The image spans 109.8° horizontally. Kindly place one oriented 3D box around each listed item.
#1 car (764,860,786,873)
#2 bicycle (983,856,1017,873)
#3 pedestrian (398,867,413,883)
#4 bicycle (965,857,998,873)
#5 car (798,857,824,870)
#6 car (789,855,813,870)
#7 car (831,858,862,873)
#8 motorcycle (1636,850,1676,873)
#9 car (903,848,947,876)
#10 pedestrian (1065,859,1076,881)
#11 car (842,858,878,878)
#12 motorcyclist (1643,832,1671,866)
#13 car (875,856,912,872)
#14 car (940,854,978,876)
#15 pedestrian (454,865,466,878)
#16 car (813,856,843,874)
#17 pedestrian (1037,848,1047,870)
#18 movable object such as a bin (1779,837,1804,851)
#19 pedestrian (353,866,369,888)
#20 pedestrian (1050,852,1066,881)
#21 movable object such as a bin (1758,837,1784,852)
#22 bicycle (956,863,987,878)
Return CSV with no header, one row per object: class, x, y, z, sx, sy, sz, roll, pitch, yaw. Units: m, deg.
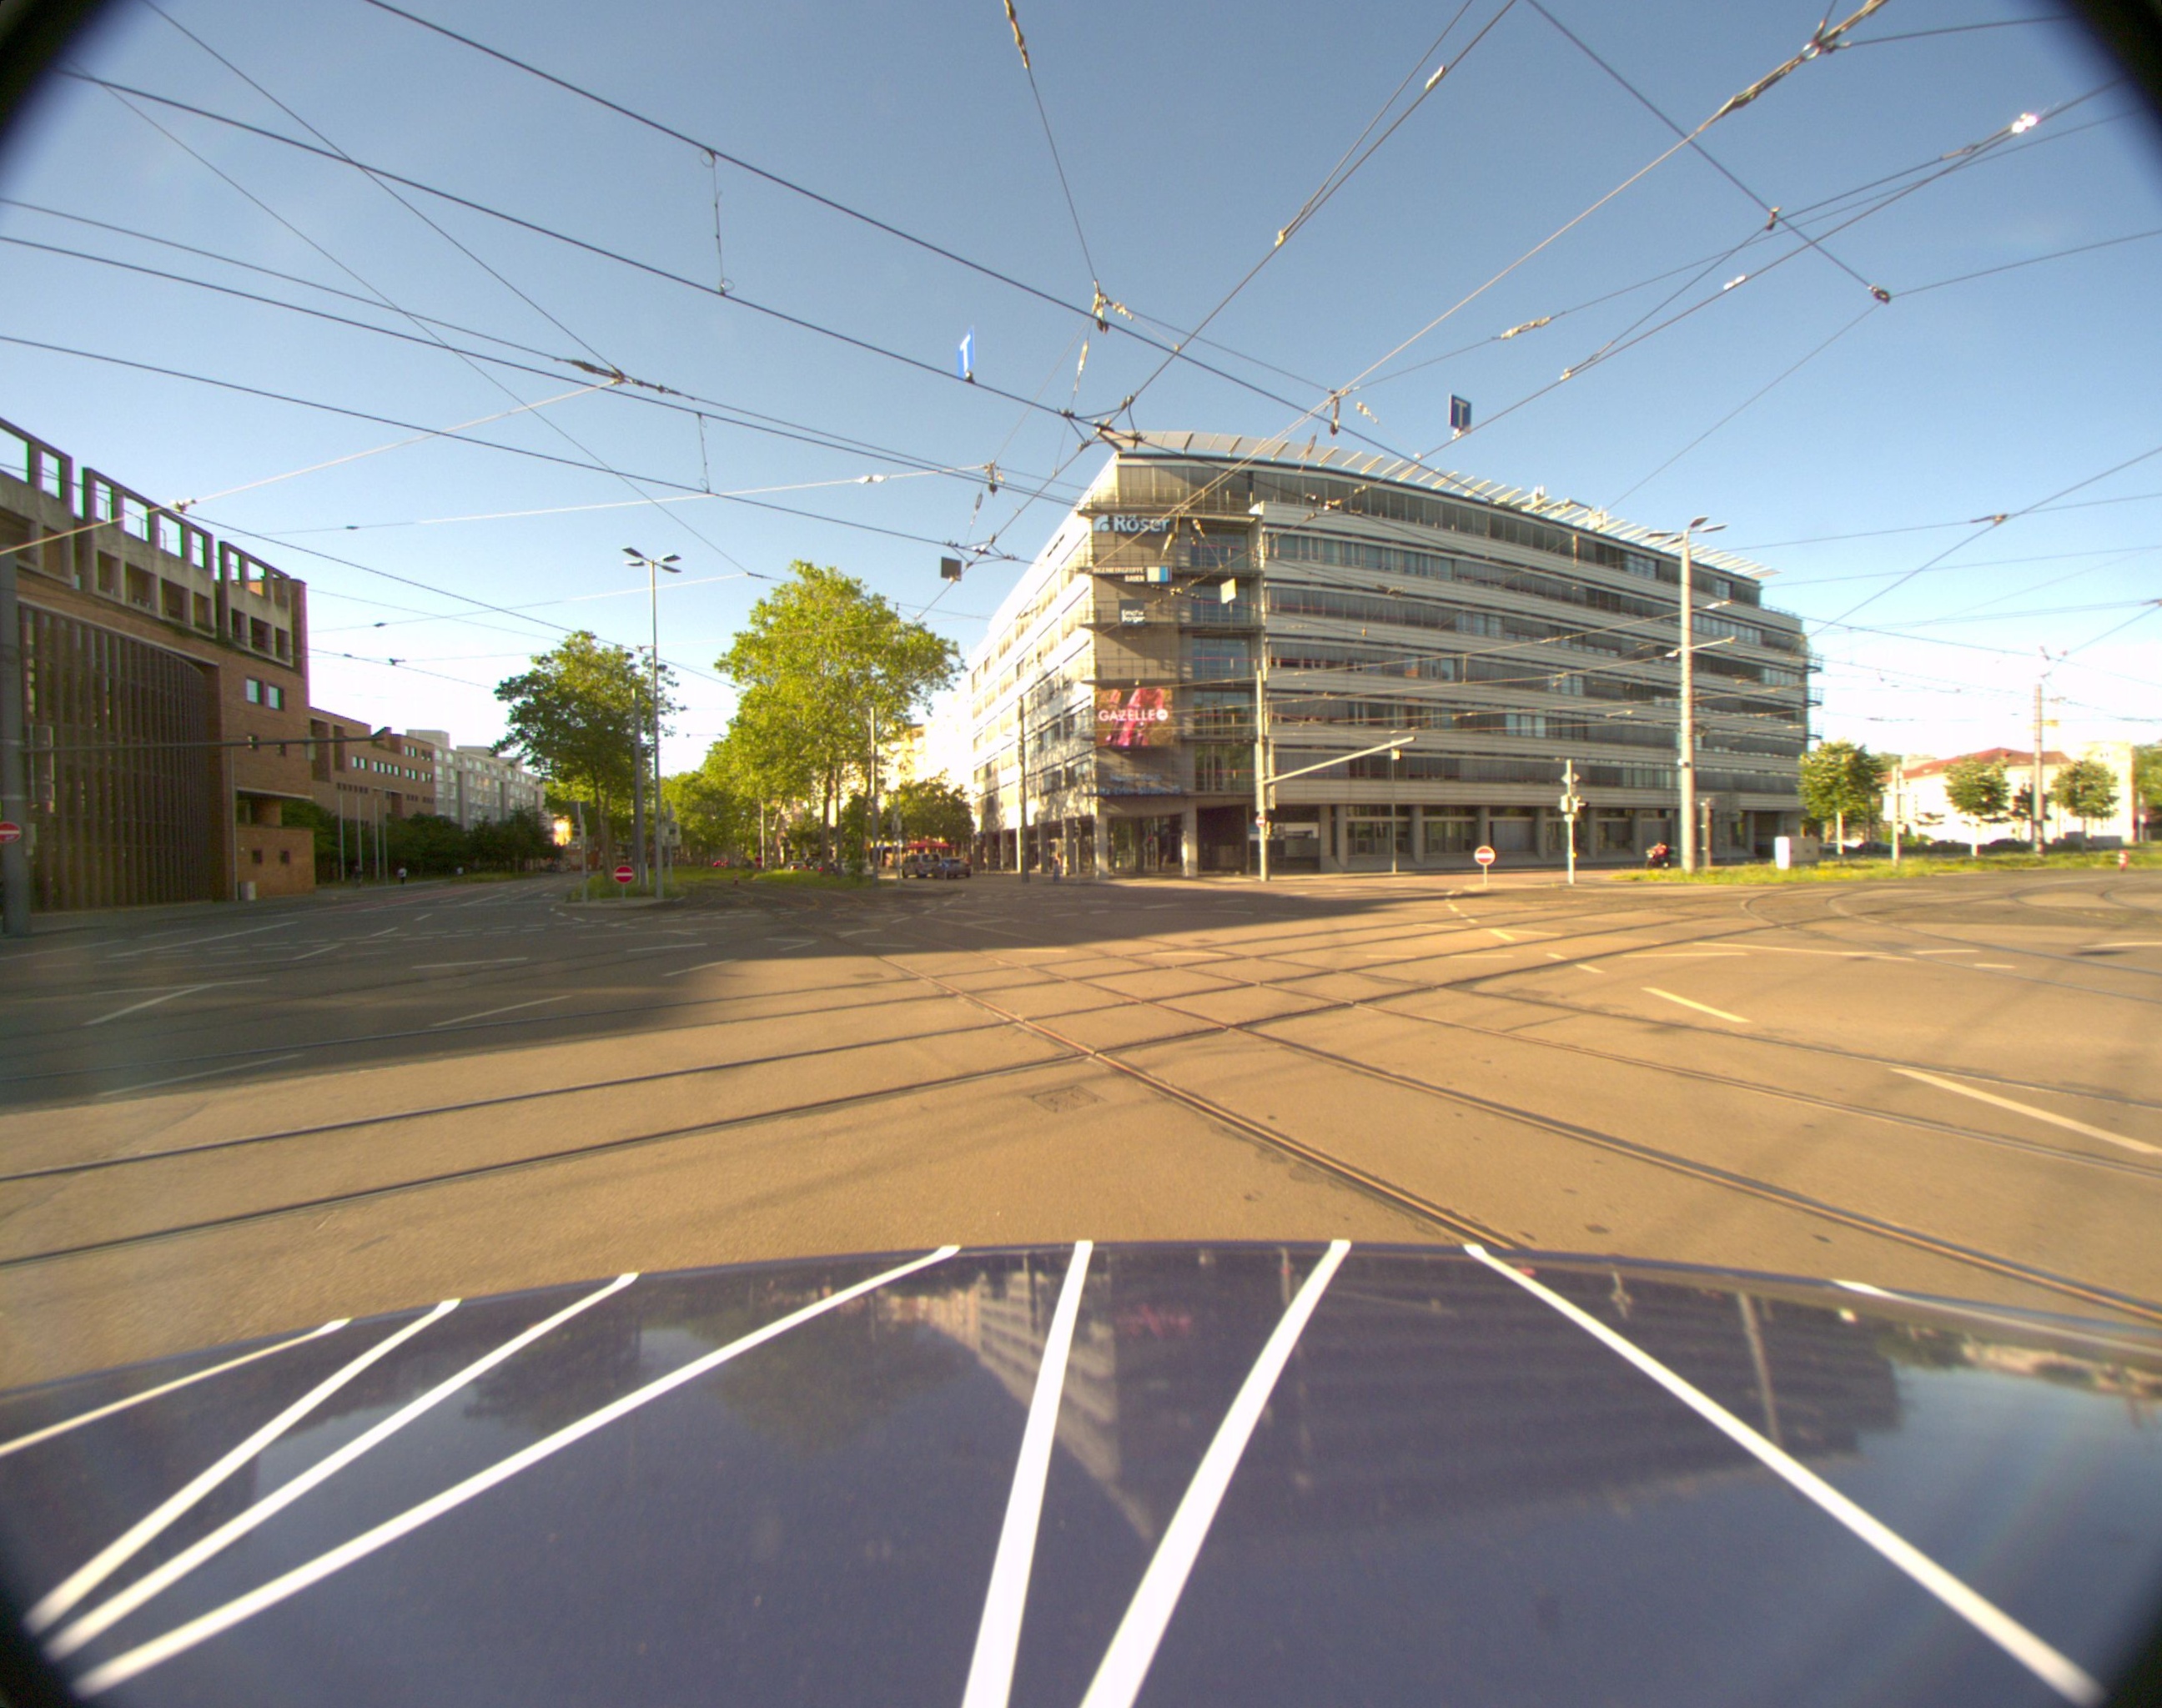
car,-35.779,1.443,88.853,1.703,1.466,3.972,-2,1,-33
bicycle,-6.141,0.797,57.627,2.397,1.206,0.774,-1,0,-19
pedestrian,-58.764,1.816,66.103,0.813,1.376,0.685,-2,1,-30
bicycle,-7.657,0.815,58.521,2.399,1.206,0.773,0,-1,-39
car,-33.528,1.148,94.150,1.871,1.466,3.967,-2,1,-37
car,-28.250,0.868,76.583,1.703,1.432,4.010,-2,0,-28
car,-24.606,1.178,79.583,1.871,1.466,3.967,-2,1,-37
motorcycle,32.142,0.426,42.483,2.258,1.214,0.820,-2,2,-24
car,-12.181,0.616,59.061,1.870,2.004,4.446,-2,1,-32
pedestrian,-0.622,0.917,43.795,0.443,1.203,0.461,-1,0,-25
car,-16.097,1.005,55.274,1.669,1.380,3.528,0,0,-30
motorcyclist,32.225,-0.288,42.507,1.113,1.847,0.820,-2,2,-24
car,-17.519,0.917,70.954,1.871,1.466,3.967,-2,1,-37
car,-8.761,0.749,54.331,1.869,1.466,3.970,-1,0,-20
pedestrian,-68.626,1.890,83.966,0.813,1.376,0.685,-2,1,-30
car,-22.252,0.928,66.778,1.870,1.466,3.969,-2,0,-27
pedestrian,-3.202,0.403,62.163,0.587,1.723,0.792,-2,-1,-13
movable object such as a bin,64.923,-0.896,69.442,1.330,1.293,1.172,-2,1,-21
pedestrian,-53.433,1.683,56.407,0.814,1.596,0.685,-2,1,-44
pedestrian,-1.331,0.729,44.026,0.662,1.631,0.791,-1,0,-25
movable object such as a bin,61.012,-0.811,67.153,1.175,1.293,1.326,-2,1,-22
bicycle,-8.825,1.308,61.355,2.399,1.206,0.773,0,-1,-39
